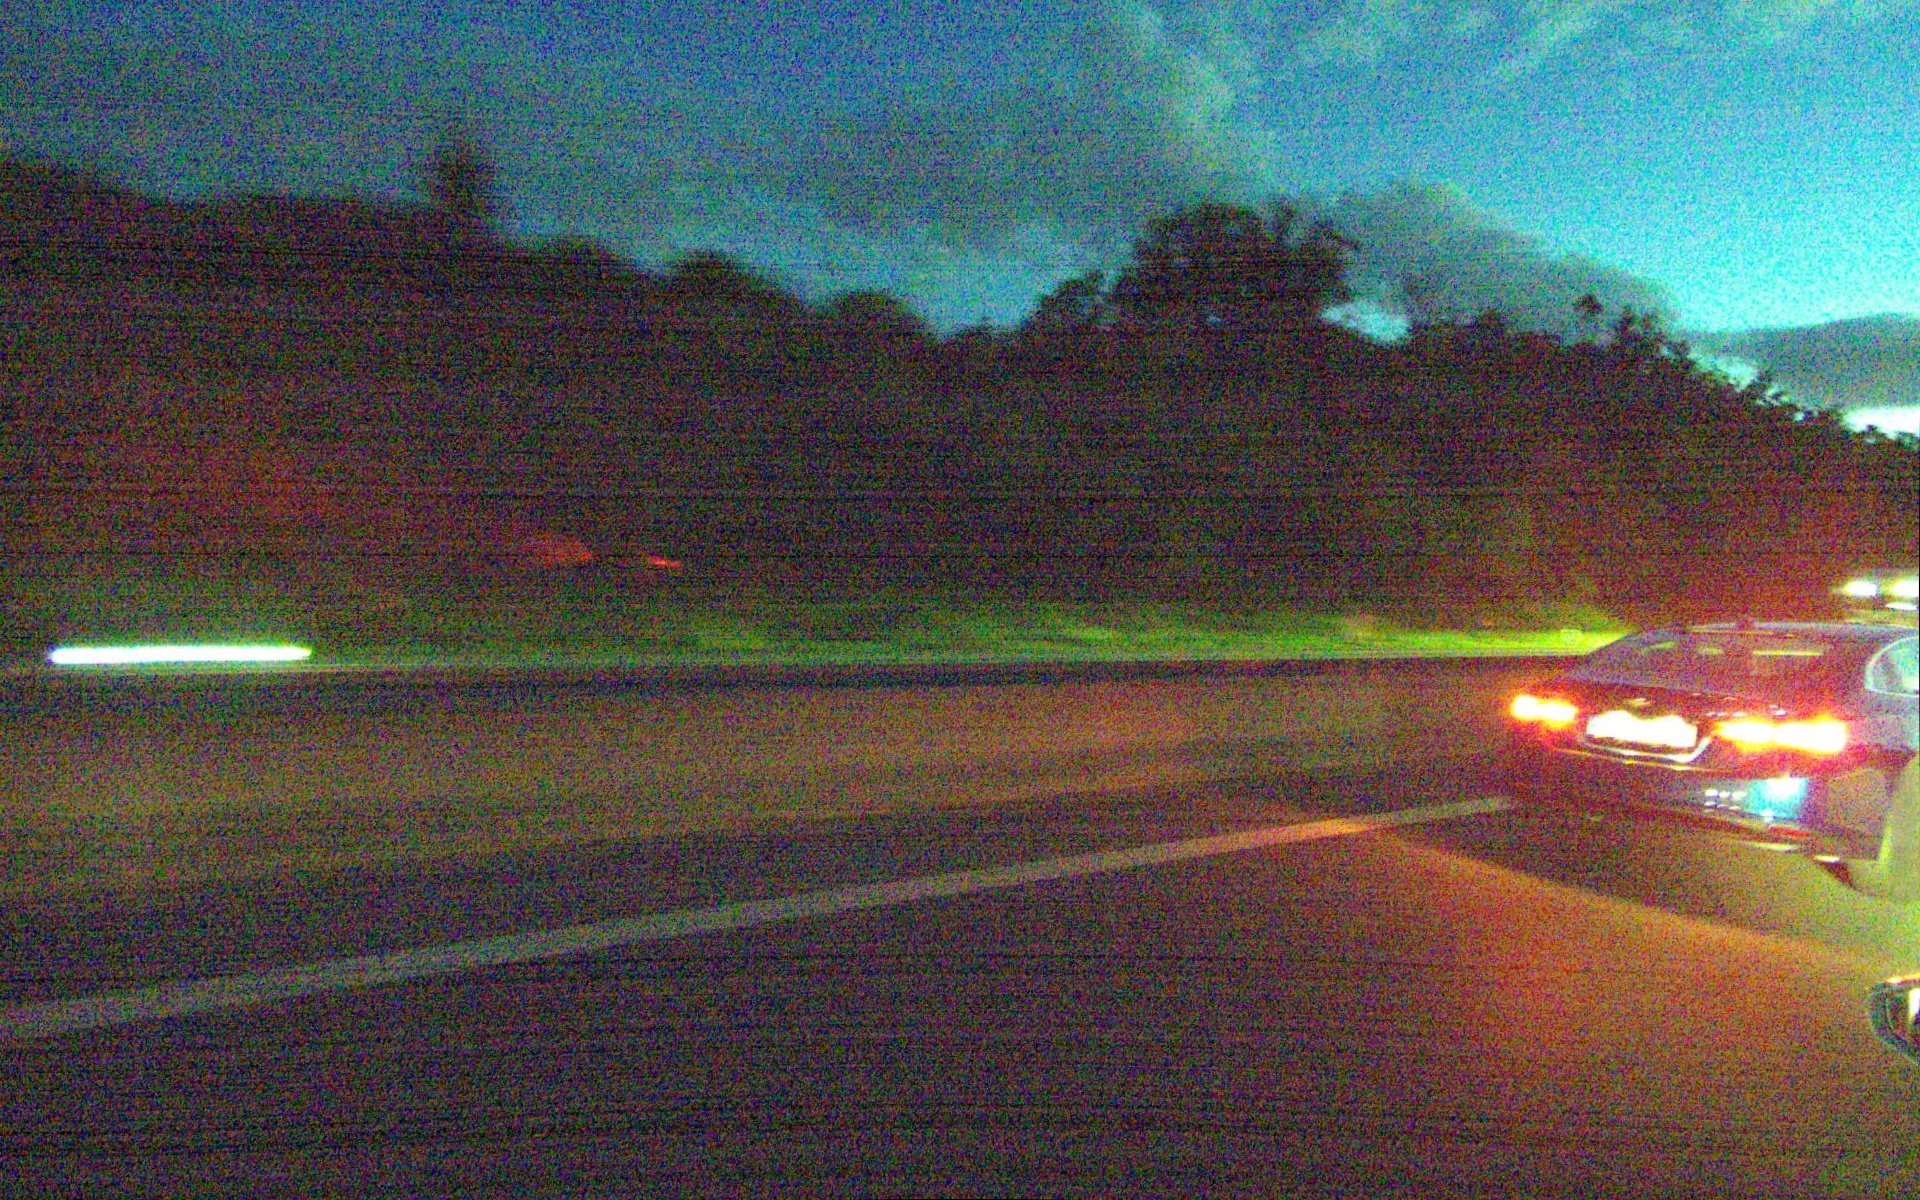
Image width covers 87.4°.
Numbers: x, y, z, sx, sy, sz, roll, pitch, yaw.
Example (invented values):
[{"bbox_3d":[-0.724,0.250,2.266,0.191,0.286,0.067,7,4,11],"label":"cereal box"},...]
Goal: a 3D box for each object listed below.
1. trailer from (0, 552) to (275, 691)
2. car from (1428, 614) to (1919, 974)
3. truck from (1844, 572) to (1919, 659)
[{"bbox_3d":[-11.999,0.283,14.073,3.800,1.770,1.887,1,0,-30],"label":"trailer"},{"bbox_3d":[5.843,0.905,6.725,5.580,1.539,1.985,0,1,-29],"label":"car"},{"bbox_3d":[49.301,0.842,51.571,10.515,4.126,2.845,2,0,-32],"label":"truck"}]
